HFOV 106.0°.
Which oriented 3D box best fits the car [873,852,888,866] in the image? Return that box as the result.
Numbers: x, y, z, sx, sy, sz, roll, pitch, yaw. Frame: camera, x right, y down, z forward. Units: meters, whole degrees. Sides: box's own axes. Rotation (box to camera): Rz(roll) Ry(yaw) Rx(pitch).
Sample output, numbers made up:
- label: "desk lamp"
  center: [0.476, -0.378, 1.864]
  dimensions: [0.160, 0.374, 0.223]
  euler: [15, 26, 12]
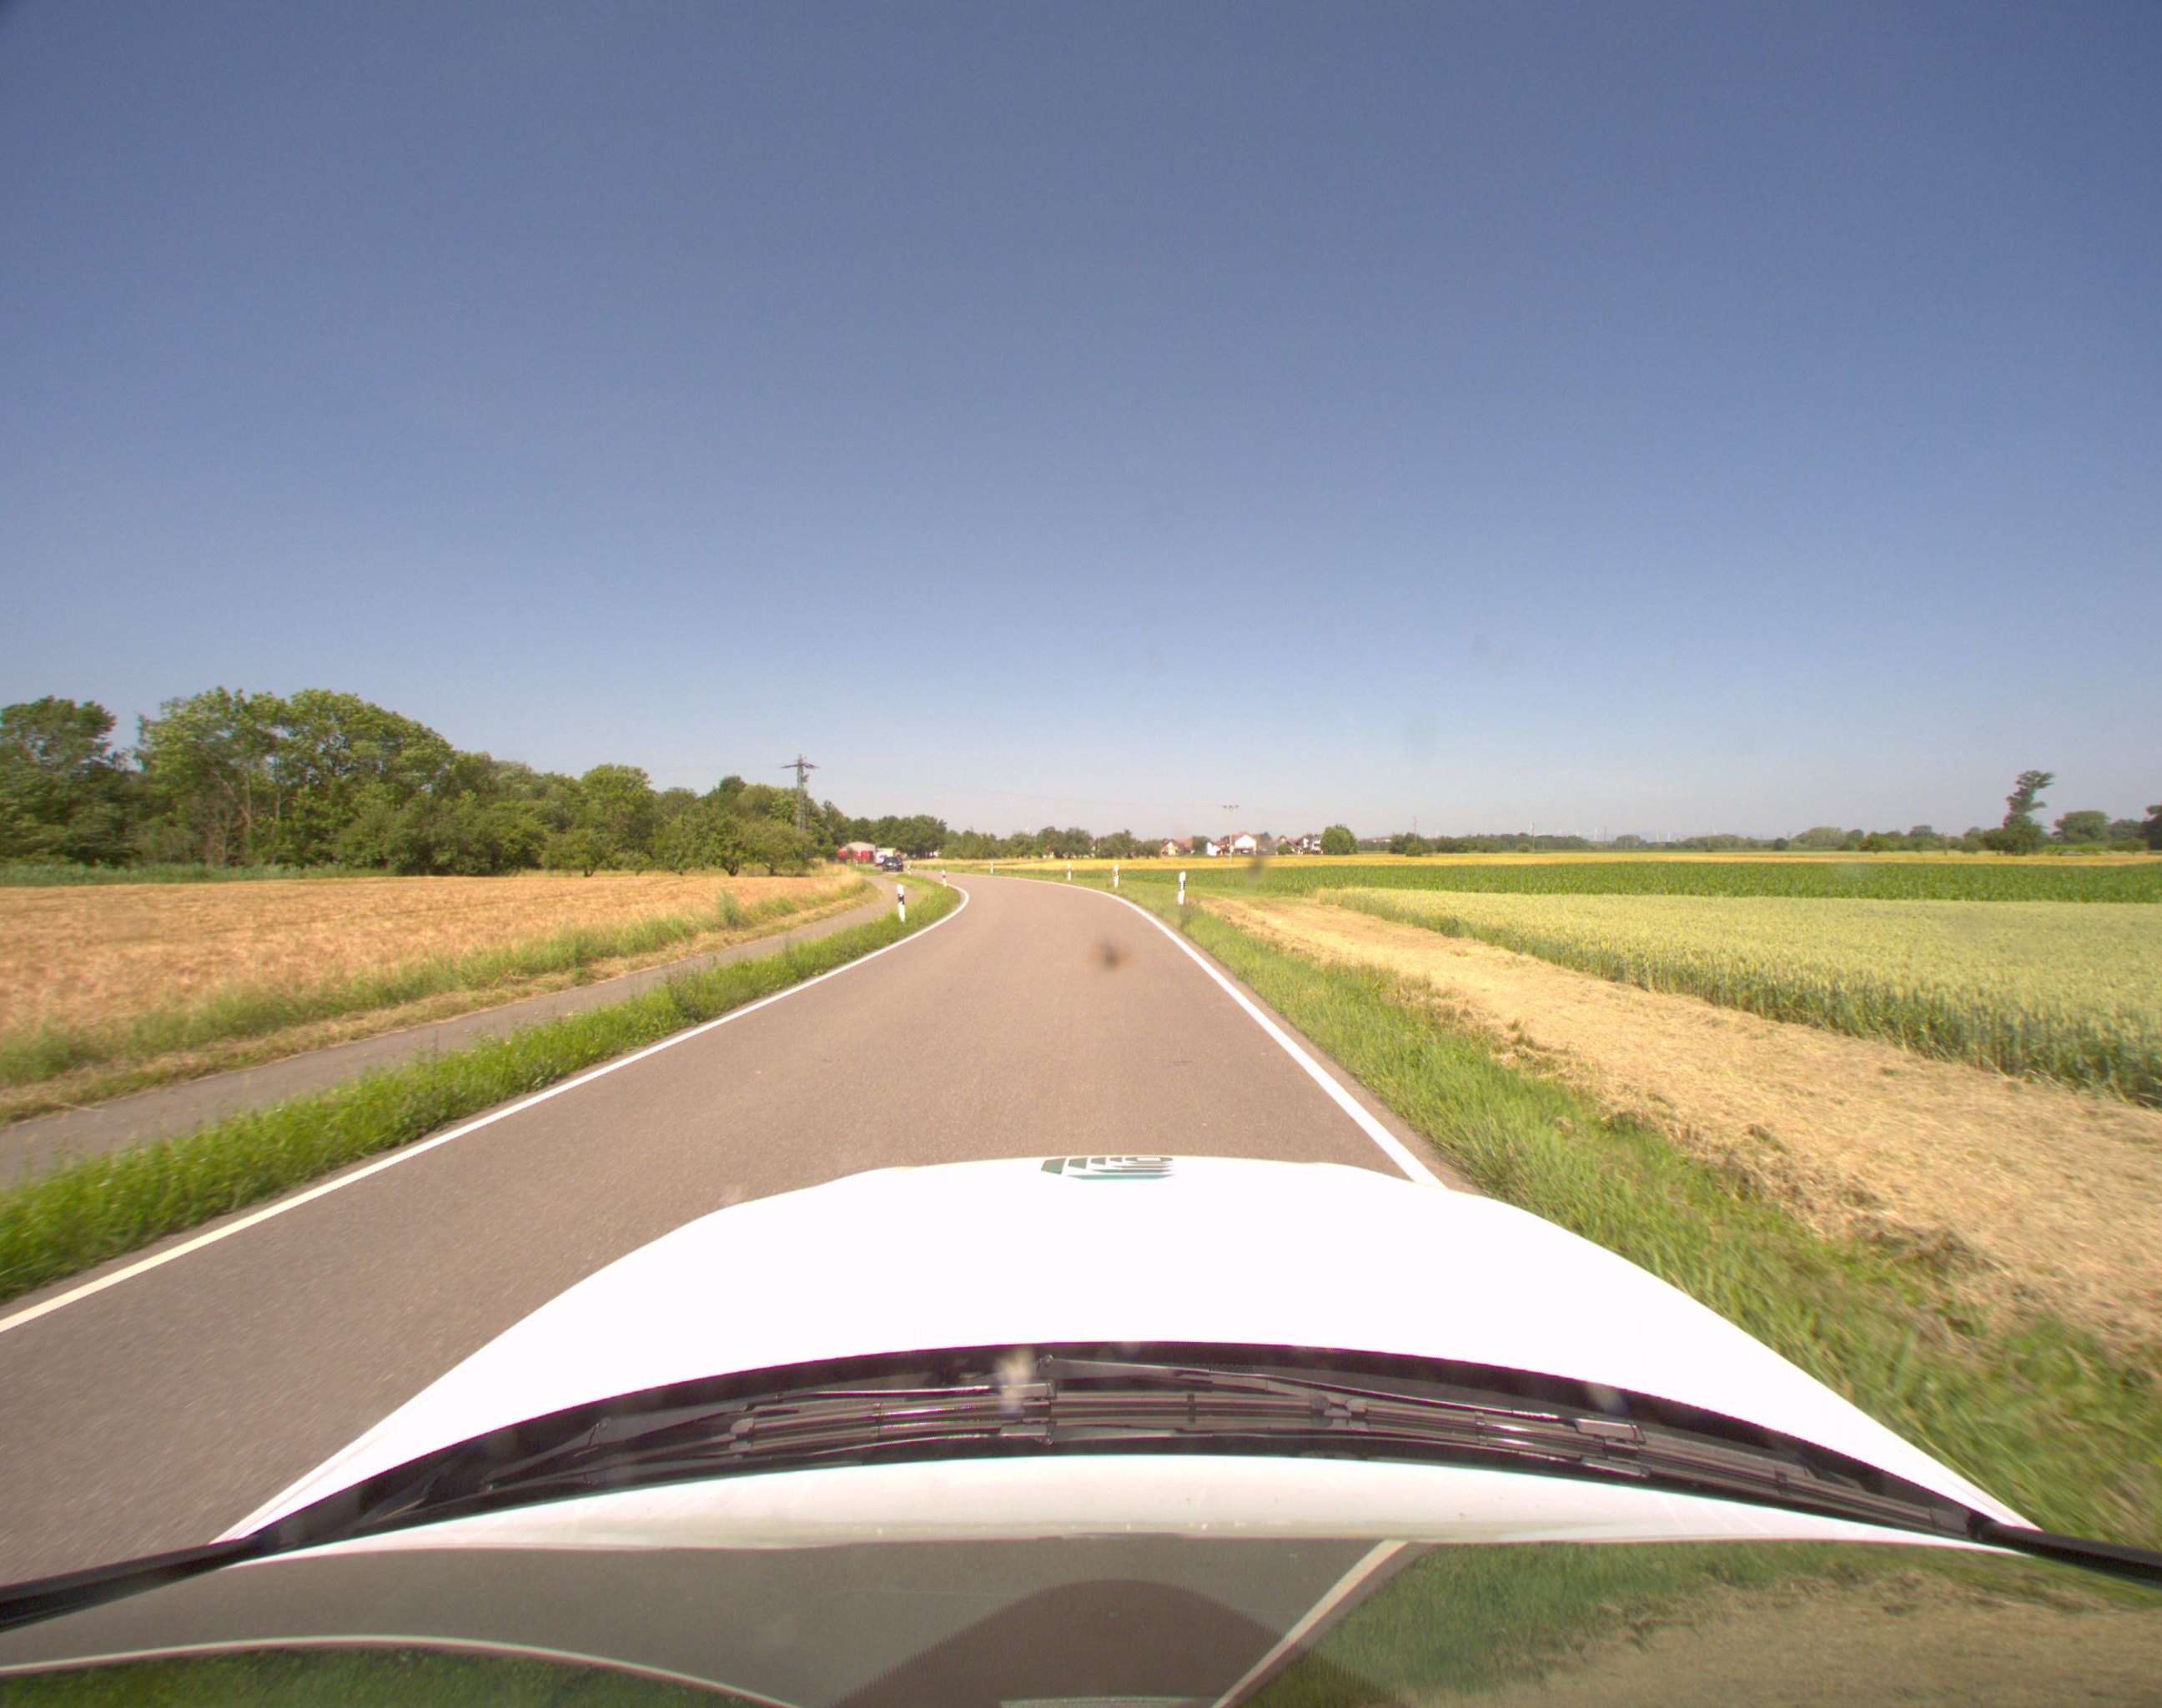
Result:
- label: "car"
  center: [-33.074, 0.770, 134.277]
  dimensions: [2.000, 2.266, 4.695]
  euler: [-1, 0, -20]

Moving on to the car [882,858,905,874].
- label: "car"
  center: [-21.065, 1.328, 91.535]
  dimensions: [1.894, 1.714, 3.984]
  euler: [-2, 0, -22]
